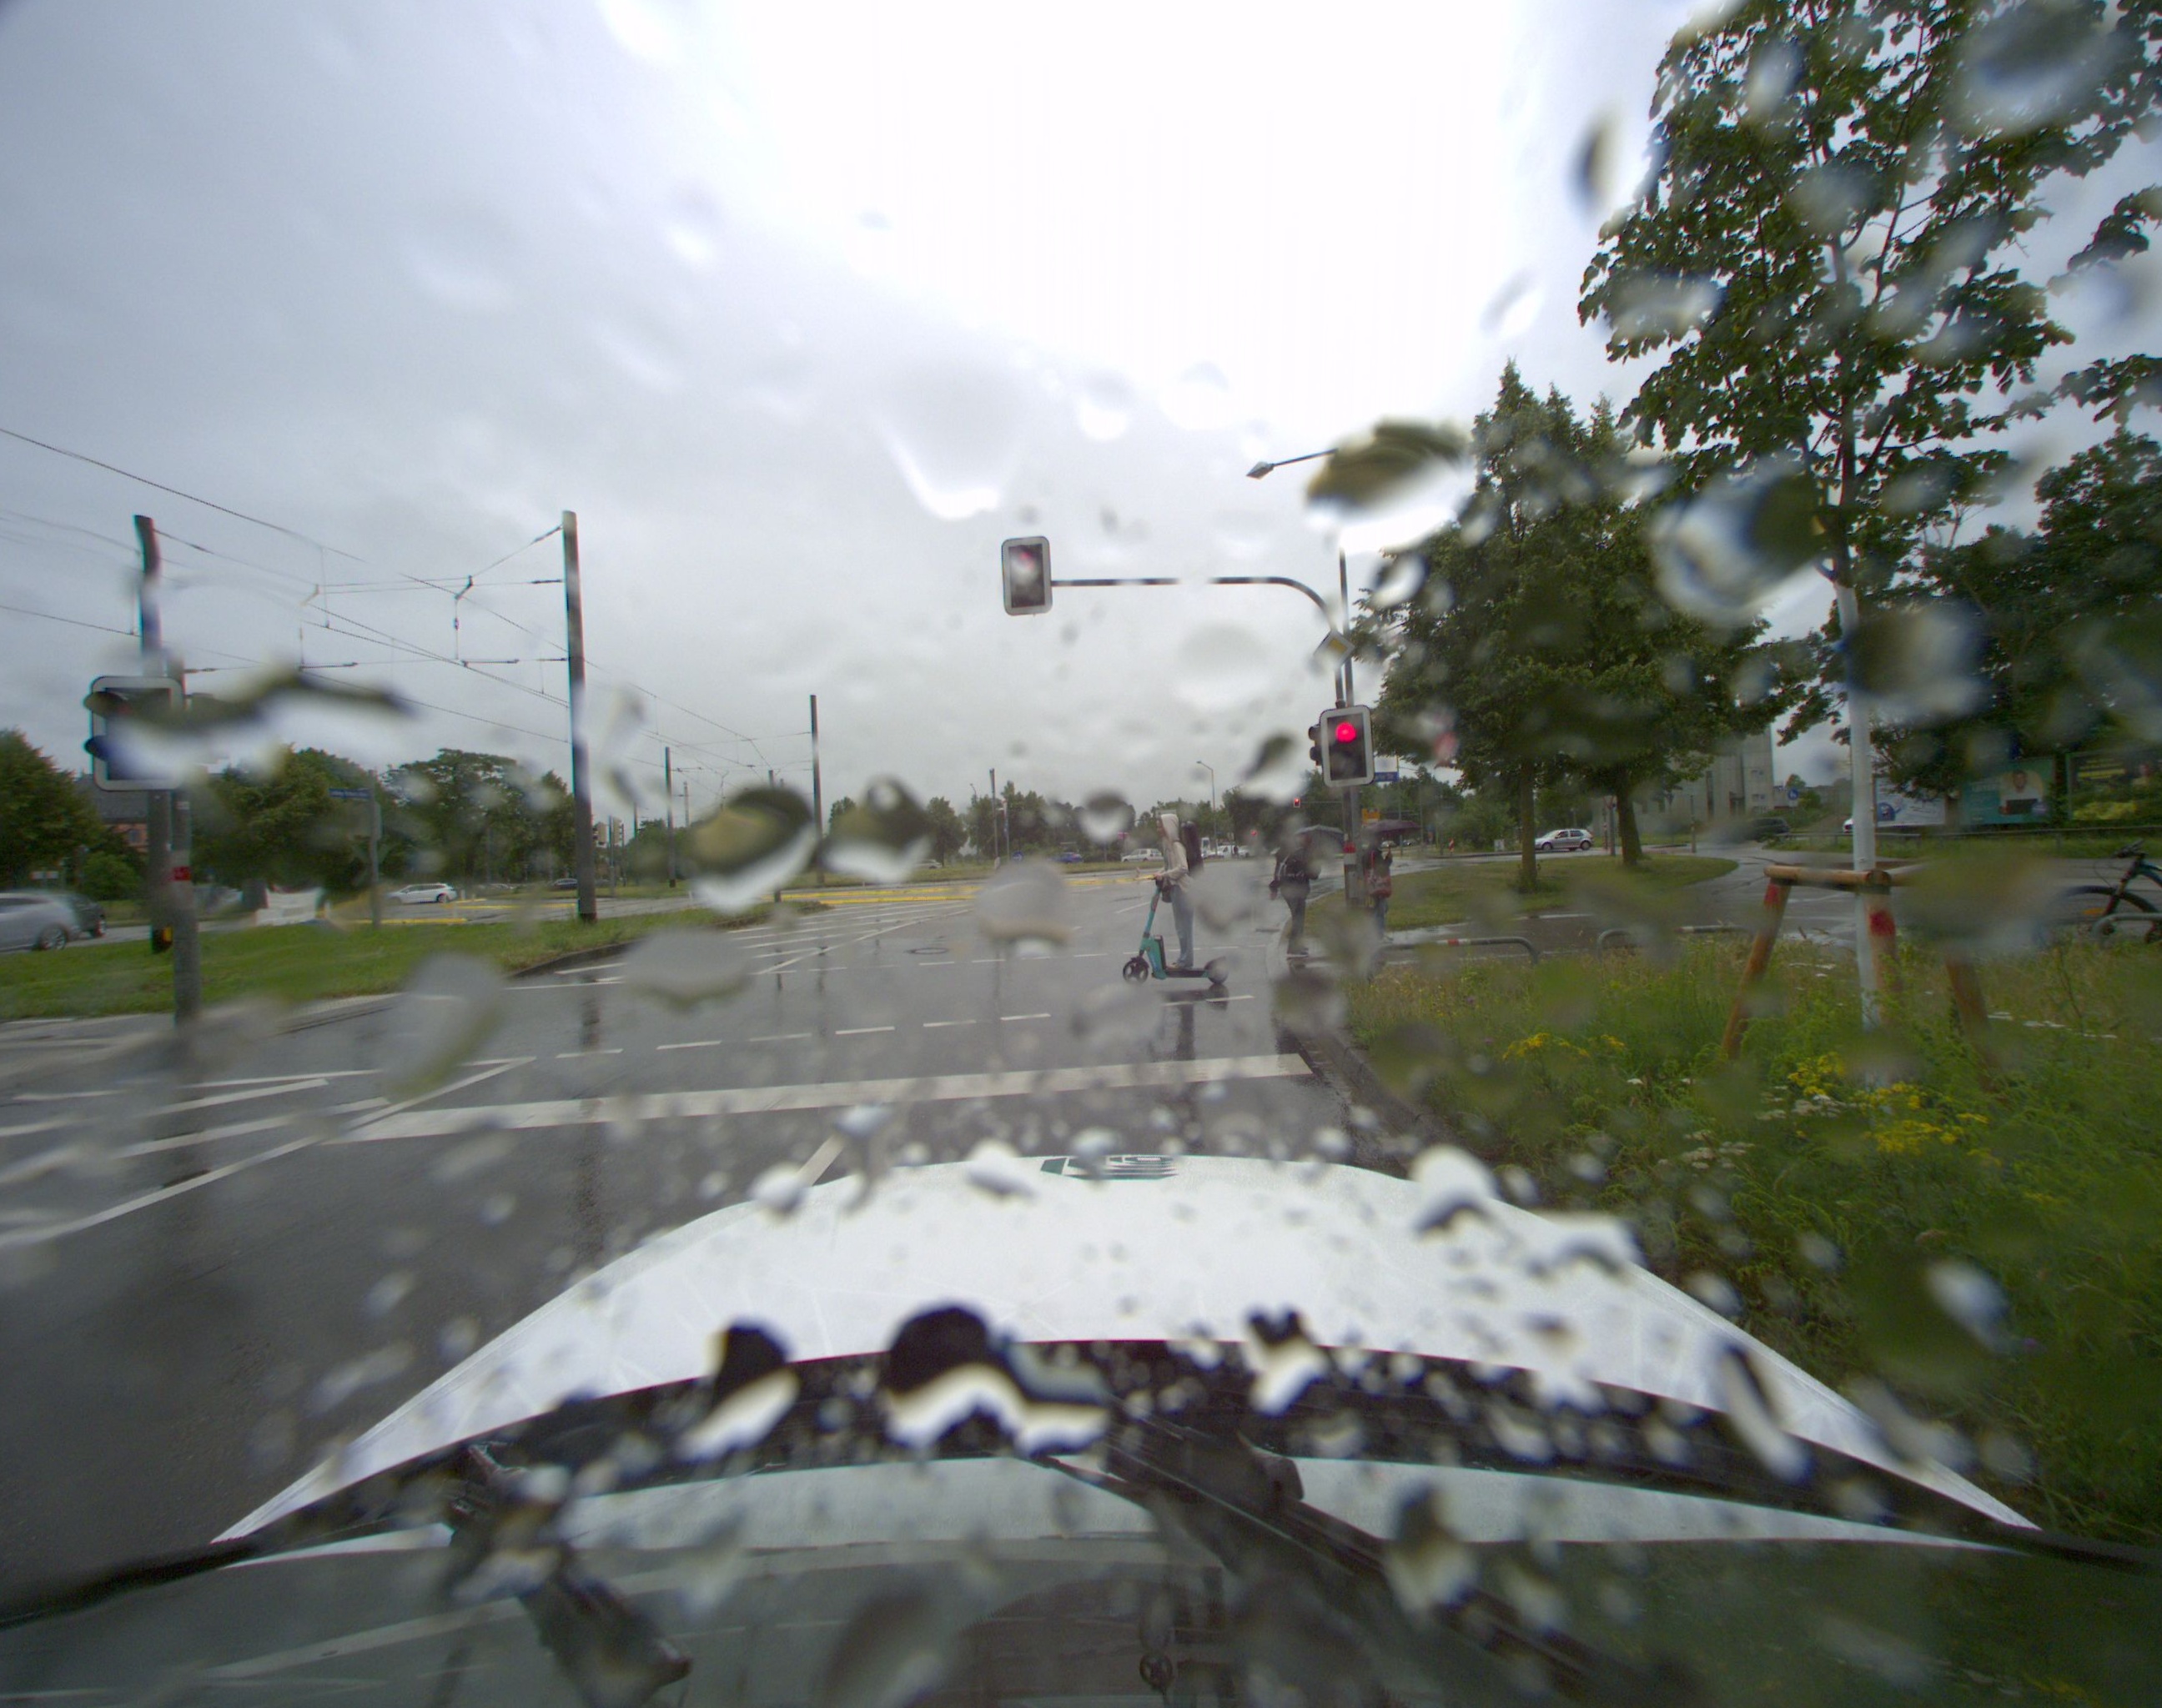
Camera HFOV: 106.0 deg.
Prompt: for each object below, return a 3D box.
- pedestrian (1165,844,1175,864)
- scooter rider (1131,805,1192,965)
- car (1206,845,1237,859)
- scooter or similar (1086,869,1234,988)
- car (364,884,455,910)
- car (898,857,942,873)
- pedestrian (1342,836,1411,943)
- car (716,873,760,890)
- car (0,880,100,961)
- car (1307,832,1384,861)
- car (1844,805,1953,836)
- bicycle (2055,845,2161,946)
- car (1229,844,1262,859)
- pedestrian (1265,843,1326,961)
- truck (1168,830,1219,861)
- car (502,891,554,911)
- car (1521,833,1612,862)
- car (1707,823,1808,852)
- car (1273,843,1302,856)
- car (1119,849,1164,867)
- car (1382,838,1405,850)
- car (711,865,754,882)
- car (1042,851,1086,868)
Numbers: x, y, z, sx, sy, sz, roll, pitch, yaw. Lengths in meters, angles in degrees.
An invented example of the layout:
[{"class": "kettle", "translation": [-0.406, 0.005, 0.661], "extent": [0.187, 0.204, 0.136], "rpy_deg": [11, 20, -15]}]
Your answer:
[{"class": "pedestrian", "translation": [6.198, -0.001, 56.460], "extent": [0.448, 1.304, 0.489], "rpy_deg": [-2, 0, 41]}, {"class": "scooter rider", "translation": [0.885, 0.335, 9.044], "extent": [0.530, 1.709, 0.433], "rpy_deg": [-3, 0, -4]}, {"class": "car", "translation": [16.926, -0.235, 97.964], "extent": [1.779, 1.662, 4.159], "rpy_deg": [-1, -1, 43]}, {"class": "scooter or similar", "translation": [0.864, 0.806, 9.038], "extent": [1.582, 1.259, 0.447], "rpy_deg": [0, -1, -4]}, {"class": "car", "translation": [-46.888, 2.964, 56.955], "extent": [1.602, 1.454, 4.653], "rpy_deg": [-2, 0, 35]}, {"class": "car", "translation": [-16.146, 1.080, 81.891], "extent": [4.093, 1.454, 1.621], "rpy_deg": [-2, 0, -5]}, {"class": "pedestrian", "translation": [4.236, 0.499, 11.711], "extent": [0.678, 1.461, 0.573], "rpy_deg": [-3, -1, -3]}, {"class": "car", "translation": [-34.874, 2.802, 82.854], "extent": [3.994, 1.454, 1.610], "rpy_deg": [-2, 0, -25]}, {"class": "car", "translation": [-23.608, 1.461, 16.719], "extent": [1.994, 1.627, 4.388], "rpy_deg": [-2, 0, -10]}, {"class": "car", "translation": [18.513, -0.525, 57.000], "extent": [4.715, 1.851, 2.013], "rpy_deg": [-2, 0, 29]}, {"class": "car", "translation": [53.490, -2.164, 53.374], "extent": [4.728, 1.851, 2.007], "rpy_deg": [0, -1, 12]}, {"class": "bicycle", "translation": [8.778, 0.315, 6.114], "extent": [0.382, 0.787, 1.841], "rpy_deg": [0, -1, -32]}, {"class": "car", "translation": [19.455, -0.267, 96.258], "extent": [1.779, 1.662, 4.436], "rpy_deg": [-1, -1, 43]}, {"class": "pedestrian", "translation": [2.863, 0.618, 10.922], "extent": [0.619, 1.522, 0.741], "rpy_deg": [-1, 0, 0]}, {"class": "truck", "translation": [10.647, -0.719, 76.100], "extent": [2.439, 2.686, 8.105], "rpy_deg": [-1, -1, 25]}, {"class": "car", "translation": [-47.166, 4.015, 69.543], "extent": [1.605, 1.543, 3.497], "rpy_deg": [0, -1, 15]}, {"class": "car", "translation": [31.728, -0.390, 53.342], "extent": [4.742, 1.851, 2.001], "rpy_deg": [0, -1, 2]}, {"class": "car", "translation": [44.090, -1.055, 53.197], "extent": [4.731, 1.851, 2.005], "rpy_deg": [0, -1, 9]}, {"class": "car", "translation": [28.204, -0.631, 111.076], "extent": [1.779, 1.662, 4.437], "rpy_deg": [-2, 0, 43]}, {"class": "car", "translation": [5.266, 0.392, 71.534], "extent": [1.632, 1.454, 3.941], "rpy_deg": [-2, 0, -39]}, {"class": "car", "translation": [50.020, -1.632, 130.334], "extent": [1.779, 1.662, 4.437], "rpy_deg": [-2, 0, 43]}, {"class": "car", "translation": [-37.524, 2.090, 87.723], "extent": [1.660, 1.816, 4.025], "rpy_deg": [-1, -1, 31]}, {"class": "car", "translation": [-1.630, 0.484, 76.457], "extent": [3.936, 1.454, 1.634], "rpy_deg": [-2, 0, 38]}]
